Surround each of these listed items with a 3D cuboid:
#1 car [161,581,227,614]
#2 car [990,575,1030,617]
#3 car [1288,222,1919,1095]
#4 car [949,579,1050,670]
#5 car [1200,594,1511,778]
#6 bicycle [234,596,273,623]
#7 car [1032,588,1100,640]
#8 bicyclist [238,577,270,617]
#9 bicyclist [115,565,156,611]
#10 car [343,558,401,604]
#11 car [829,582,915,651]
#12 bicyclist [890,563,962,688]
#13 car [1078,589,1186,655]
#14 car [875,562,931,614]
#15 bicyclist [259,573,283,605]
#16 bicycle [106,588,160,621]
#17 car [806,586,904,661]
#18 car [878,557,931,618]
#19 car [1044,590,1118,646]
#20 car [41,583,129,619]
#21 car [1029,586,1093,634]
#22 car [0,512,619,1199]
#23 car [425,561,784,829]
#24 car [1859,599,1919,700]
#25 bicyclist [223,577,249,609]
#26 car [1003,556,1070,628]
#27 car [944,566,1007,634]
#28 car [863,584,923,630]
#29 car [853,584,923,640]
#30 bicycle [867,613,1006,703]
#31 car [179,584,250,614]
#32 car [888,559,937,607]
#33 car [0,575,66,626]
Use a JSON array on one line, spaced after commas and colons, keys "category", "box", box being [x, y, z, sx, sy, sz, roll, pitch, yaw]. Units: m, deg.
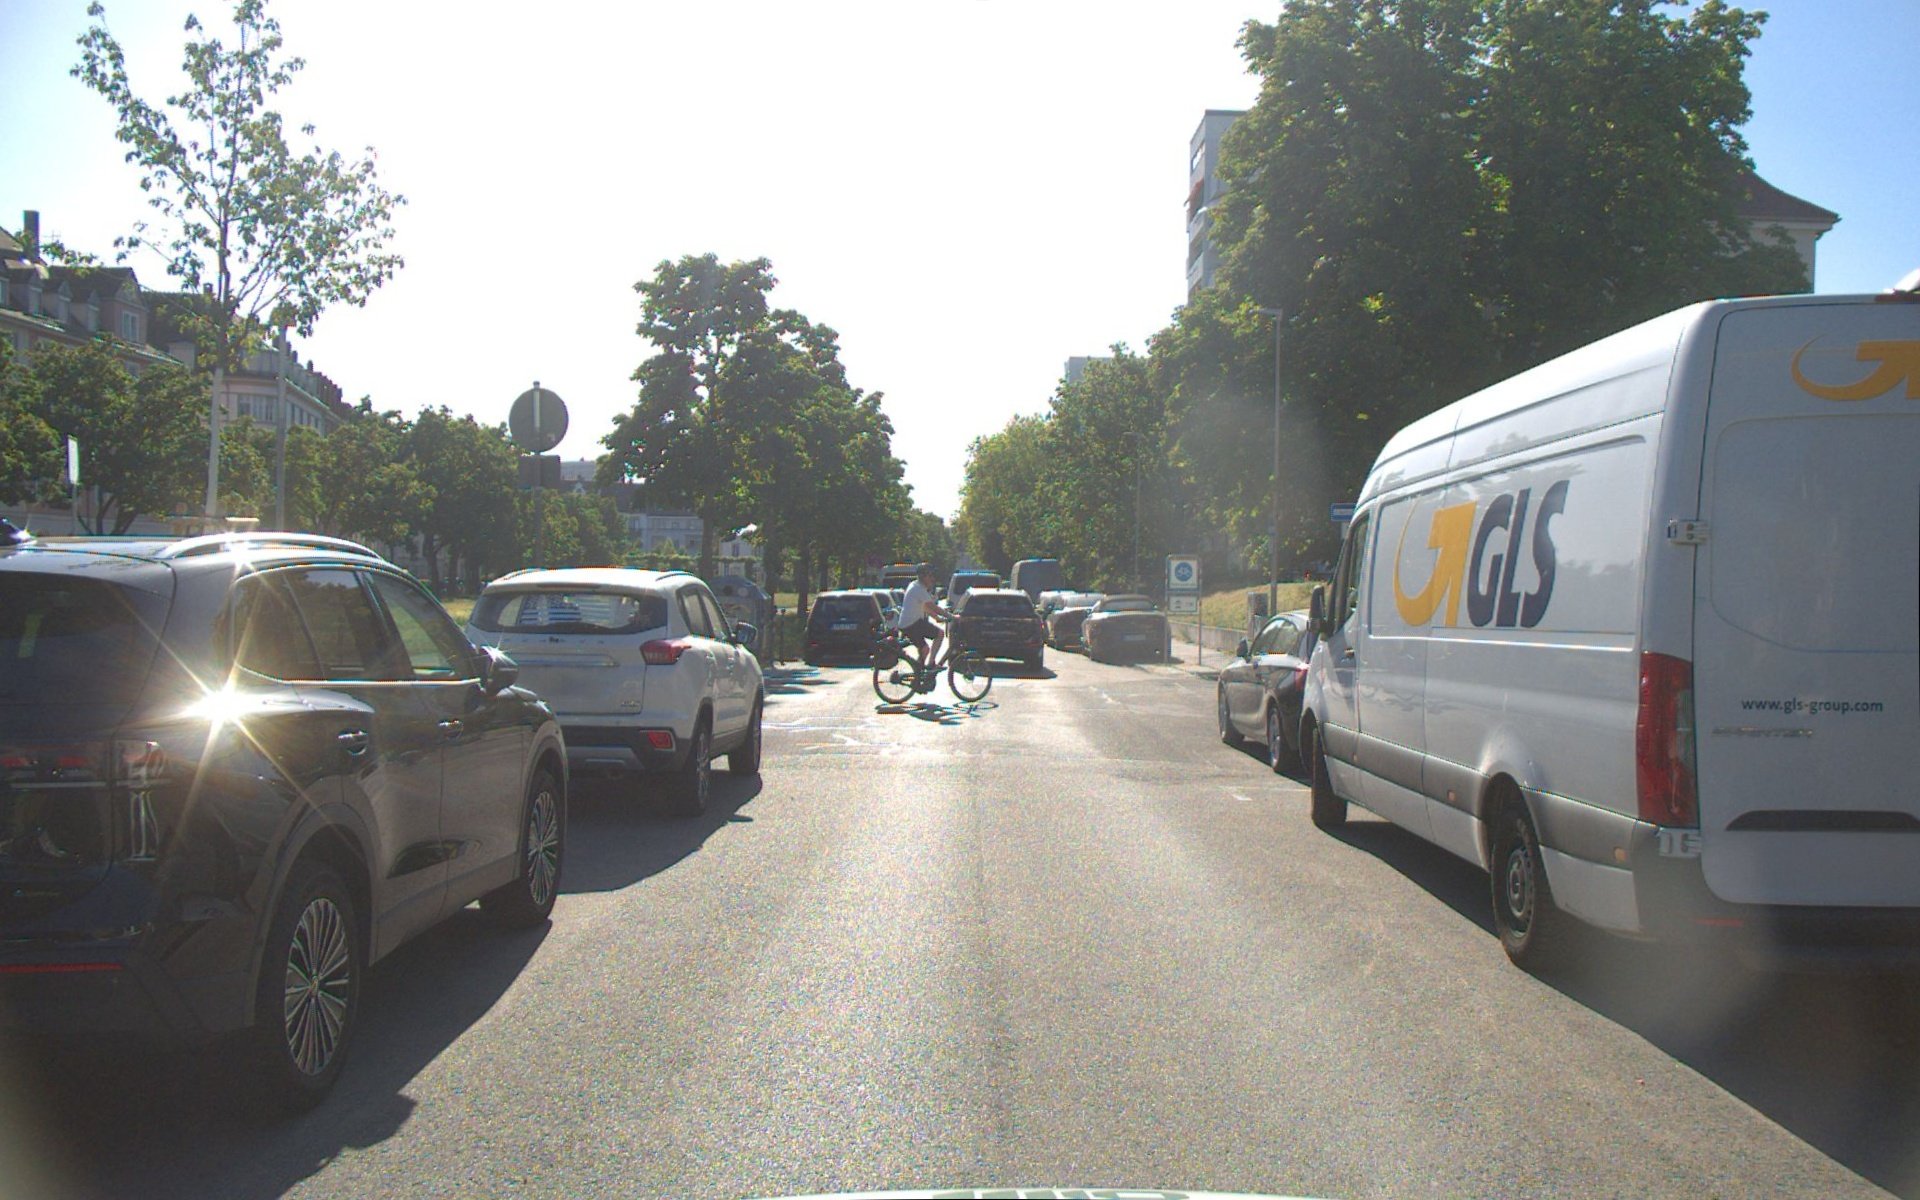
[{"category": "car", "box": [-42.784, -0.151, 92.451, 1.822, 1.779, 3.999, 1, 1, -1]}, {"category": "car", "box": [2.849, -0.244, 95.613, 2.119, 2.332, 5.265, 1, 1, -1]}, {"category": "car", "box": [3.393, 0.144, 8.661, 2.098, 2.760, 6.842, -1, 1, 1]}, {"category": "car", "box": [0.742, 0.421, 31.341, 1.743, 1.558, 4.001, 2, 1, 1]}, {"category": "car", "box": [3.690, 0.723, 16.320, 1.919, 1.507, 4.498, -1, 1, -1]}, {"category": "bicycle", "box": [-33.867, 0.440, 79.328, 0.794, 1.274, 2.633, 2, 0, -2]}, {"category": "car", "box": [3.211, 0.391, 50.808, 1.743, 1.513, 4.031, 1, 1, -1]}, {"category": "bicyclist", "box": [-33.847, -0.142, 79.296, 0.922, 1.869, 1.449, 0, 0, -1]}, {"category": "bicyclist", "box": [-33.538, -0.476, 67.291, 0.922, 1.869, 1.449, 0, 0, 0]}, {"category": "car", "box": [-37.453, -1.204, 105.519, 1.877, 2.792, 5.622, 1, 0, -3]}, {"category": "car", "box": [-2.036, 0.378, 39.251, 1.740, 1.521, 3.875, -1, 0, 1]}, {"category": "bicyclist", "box": [-0.454, 0.328, 21.985, 0.777, 1.624, 0.692, 1, 0, -19]}, {"category": "car", "box": [3.934, 0.465, 38.481, 2.081, 1.361, 4.506, -2, 0, 1]}, {"category": "car", "box": [-2.216, -0.480, 65.442, 2.055, 1.976, 4.127, 1, 0, 0]}, {"category": "bicyclist", "box": [-32.121, -0.516, 77.124, 0.723, 1.463, 0.942, 0, -1, -1]}, {"category": "bicycle", "box": [-33.549, 0.186, 67.140, 0.793, 1.274, 2.634, 1, -1, 1]}, {"category": "car", "box": [-2.142, 0.472, 34.730, 1.712, 1.449, 3.917, -1, 0, 1]}, {"category": "car", "box": [-2.382, -0.541, 71.853, 2.055, 2.540, 4.127, 1, 0, 1]}, {"category": "car", "box": [3.205, 0.454, 44.434, 1.743, 1.395, 4.127, 1, 1, 1]}, {"category": "car", "box": [-37.013, 0.026, 70.050, 1.659, 1.454, 3.775, 1, 1, 1]}, {"category": "car", "box": [3.369, 0.316, 55.867, 1.947, 1.513, 4.127, 1, 1, 1]}, {"category": "car", "box": [-2.677, 0.625, 6.155, 1.805, 1.667, 4.715, -1, 0, 0]}, {"category": "car", "box": [-2.481, 0.580, 12.628, 1.720, 1.676, 4.288, -1, 1, 1]}, {"category": "car", "box": [15.802, 0.736, 24.778, 3.810, 1.454, 1.657, 1, 1, -4]}, {"category": "bicyclist", "box": [-33.639, -0.315, 76.851, 0.723, 1.462, 0.942, -2, 0, -1]}, {"category": "car", "box": [3.016, -0.332, 65.975, 2.120, 2.736, 5.413, 1, 1, -3]}, {"category": "car", "box": [0.496, -0.023, 51.547, 1.855, 2.026, 4.011, -1, 0, 1]}, {"category": "car", "box": [-2.265, 0.209, 56.978, 1.795, 1.526, 4.127, 1, 1, 1]}, {"category": "car", "box": [-2.008, 0.312, 47.181, 1.743, 1.487, 4.127, 1, 1, 1]}, {"category": "bicycle", "box": [-0.316, 0.764, 22.031, 1.733, 1.147, 0.659, 1, 0, -19]}, {"category": "car", "box": [-37.261, -0.065, 82.789, 1.808, 1.465, 3.774, 1, 1, 0]}, {"category": "car", "box": [-2.732, -1.006, 97.307, 2.562, 2.691, 6.115, 1, 1, 1]}, {"category": "car", "box": [-36.983, -0.004, 64.763, 1.701, 1.941, 4.459, 1, 1, -3]}]
